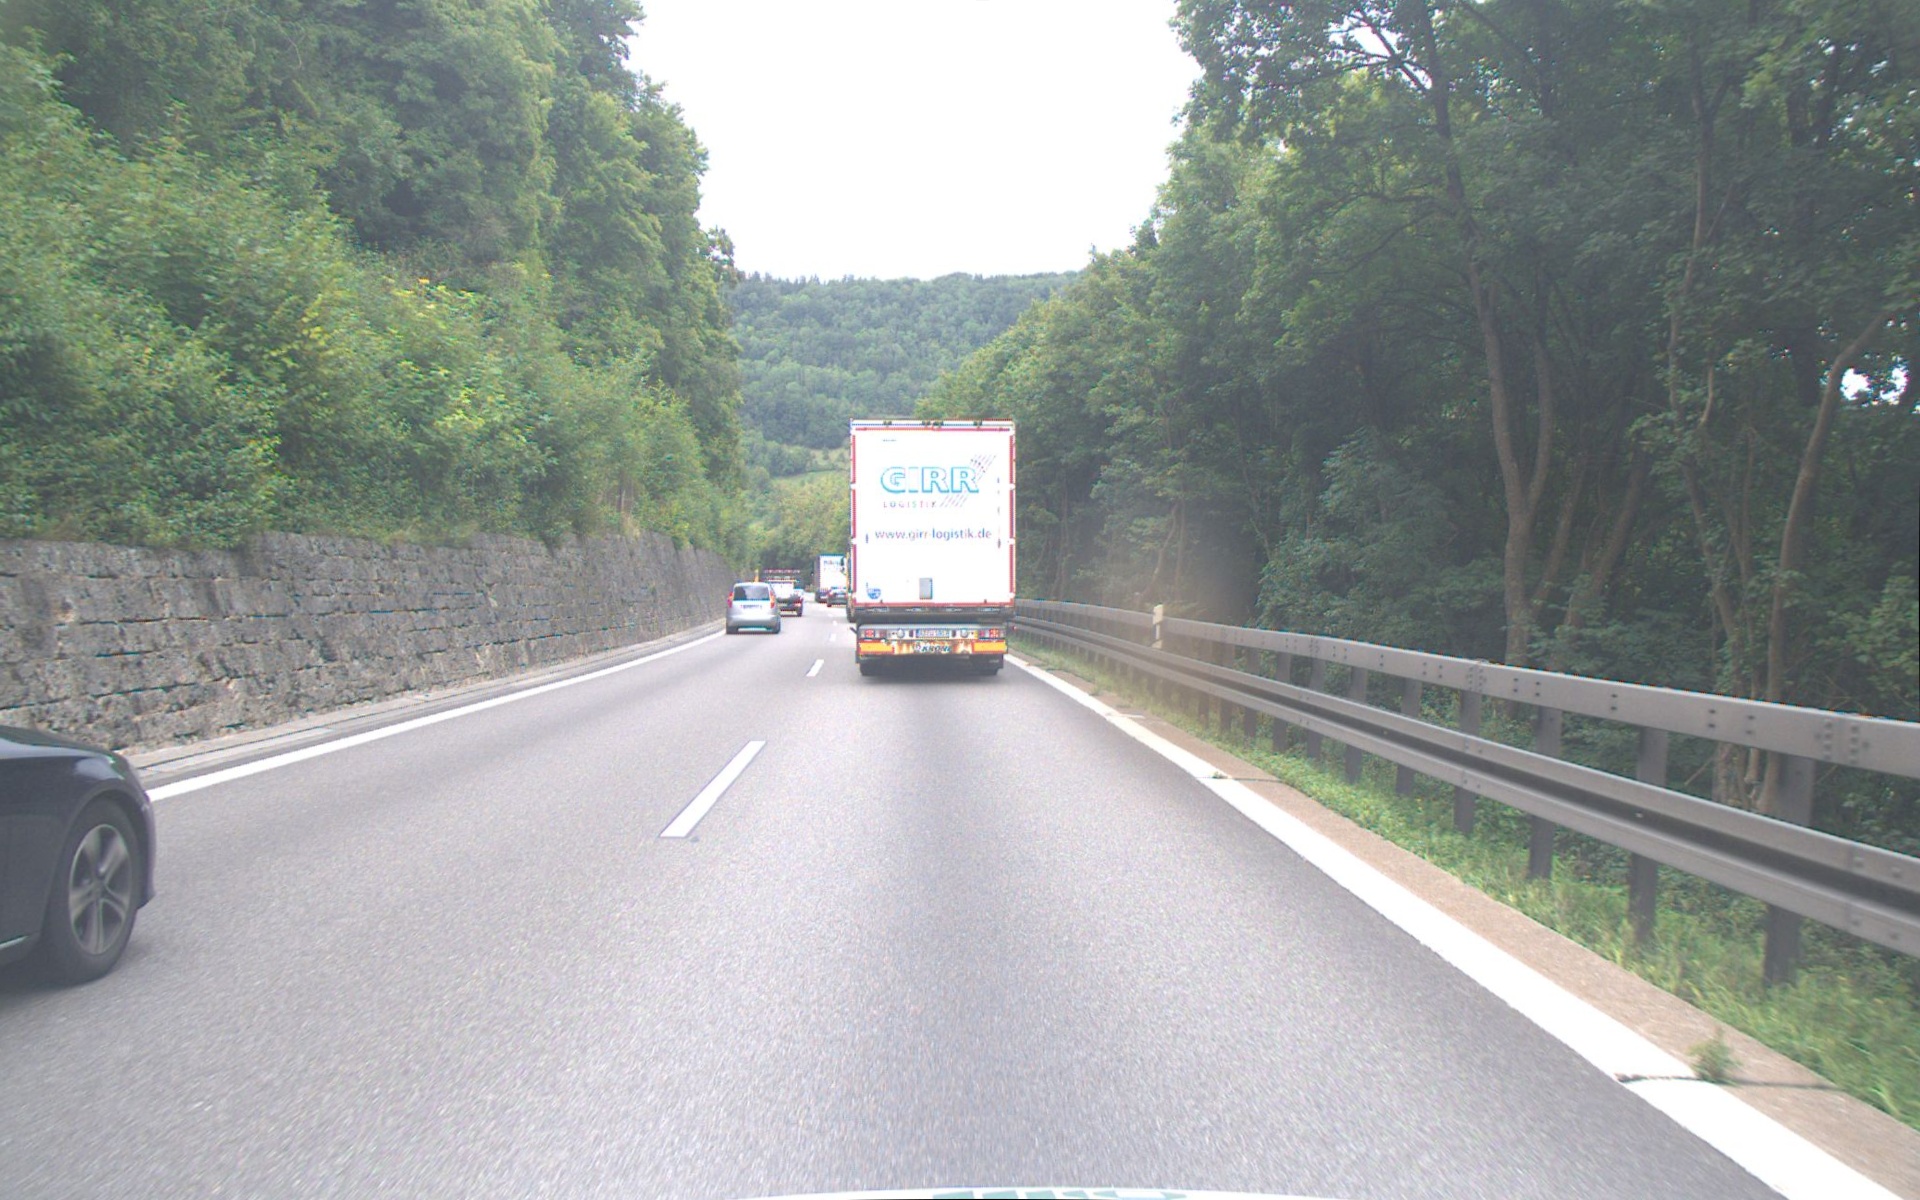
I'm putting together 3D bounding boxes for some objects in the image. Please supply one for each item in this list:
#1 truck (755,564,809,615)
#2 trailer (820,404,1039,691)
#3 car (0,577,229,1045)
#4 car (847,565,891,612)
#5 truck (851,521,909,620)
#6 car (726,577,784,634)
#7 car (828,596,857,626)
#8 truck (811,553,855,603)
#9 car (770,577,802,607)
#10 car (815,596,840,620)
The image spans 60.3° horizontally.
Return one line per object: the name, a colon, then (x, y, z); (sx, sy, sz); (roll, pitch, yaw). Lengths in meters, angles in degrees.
truck: (-8.805, -0.528, 82.320); (2.303, 2.313, 6.844); (2, 0, -4)
trailer: (-0.680, -0.829, 29.520); (3.071, 4.113, 9.434); (3, 0, -3)
car: (-3.907, 0.681, 4.370); (1.725, 1.489, 5.122); (0, 1, -1)
car: (-4.285, -0.509, 77.325); (1.954, 2.049, 4.329); (2, 0, -4)
truck: (-3.360, -1.166, 68.982); (2.189, 3.870, 6.818); (2, 0, -3)
car: (-6.598, 0.160, 53.572); (1.602, 1.757, 4.341); (1, 0, -4)
car: (-8.306, 0.770, 116.888); (1.955, 2.049, 3.996); (2, 0, -5)
truck: (-10.879, -1.820, 140.671); (3.011, 3.945, 8.442); (2, 0, -8)
car: (-12.005, -0.573, 114.549); (1.979, 1.947, 5.558); (2, 0, -5)
car: (-11.978, 0.687, 149.377); (1.956, 2.049, 3.993); (2, 0, -8)
